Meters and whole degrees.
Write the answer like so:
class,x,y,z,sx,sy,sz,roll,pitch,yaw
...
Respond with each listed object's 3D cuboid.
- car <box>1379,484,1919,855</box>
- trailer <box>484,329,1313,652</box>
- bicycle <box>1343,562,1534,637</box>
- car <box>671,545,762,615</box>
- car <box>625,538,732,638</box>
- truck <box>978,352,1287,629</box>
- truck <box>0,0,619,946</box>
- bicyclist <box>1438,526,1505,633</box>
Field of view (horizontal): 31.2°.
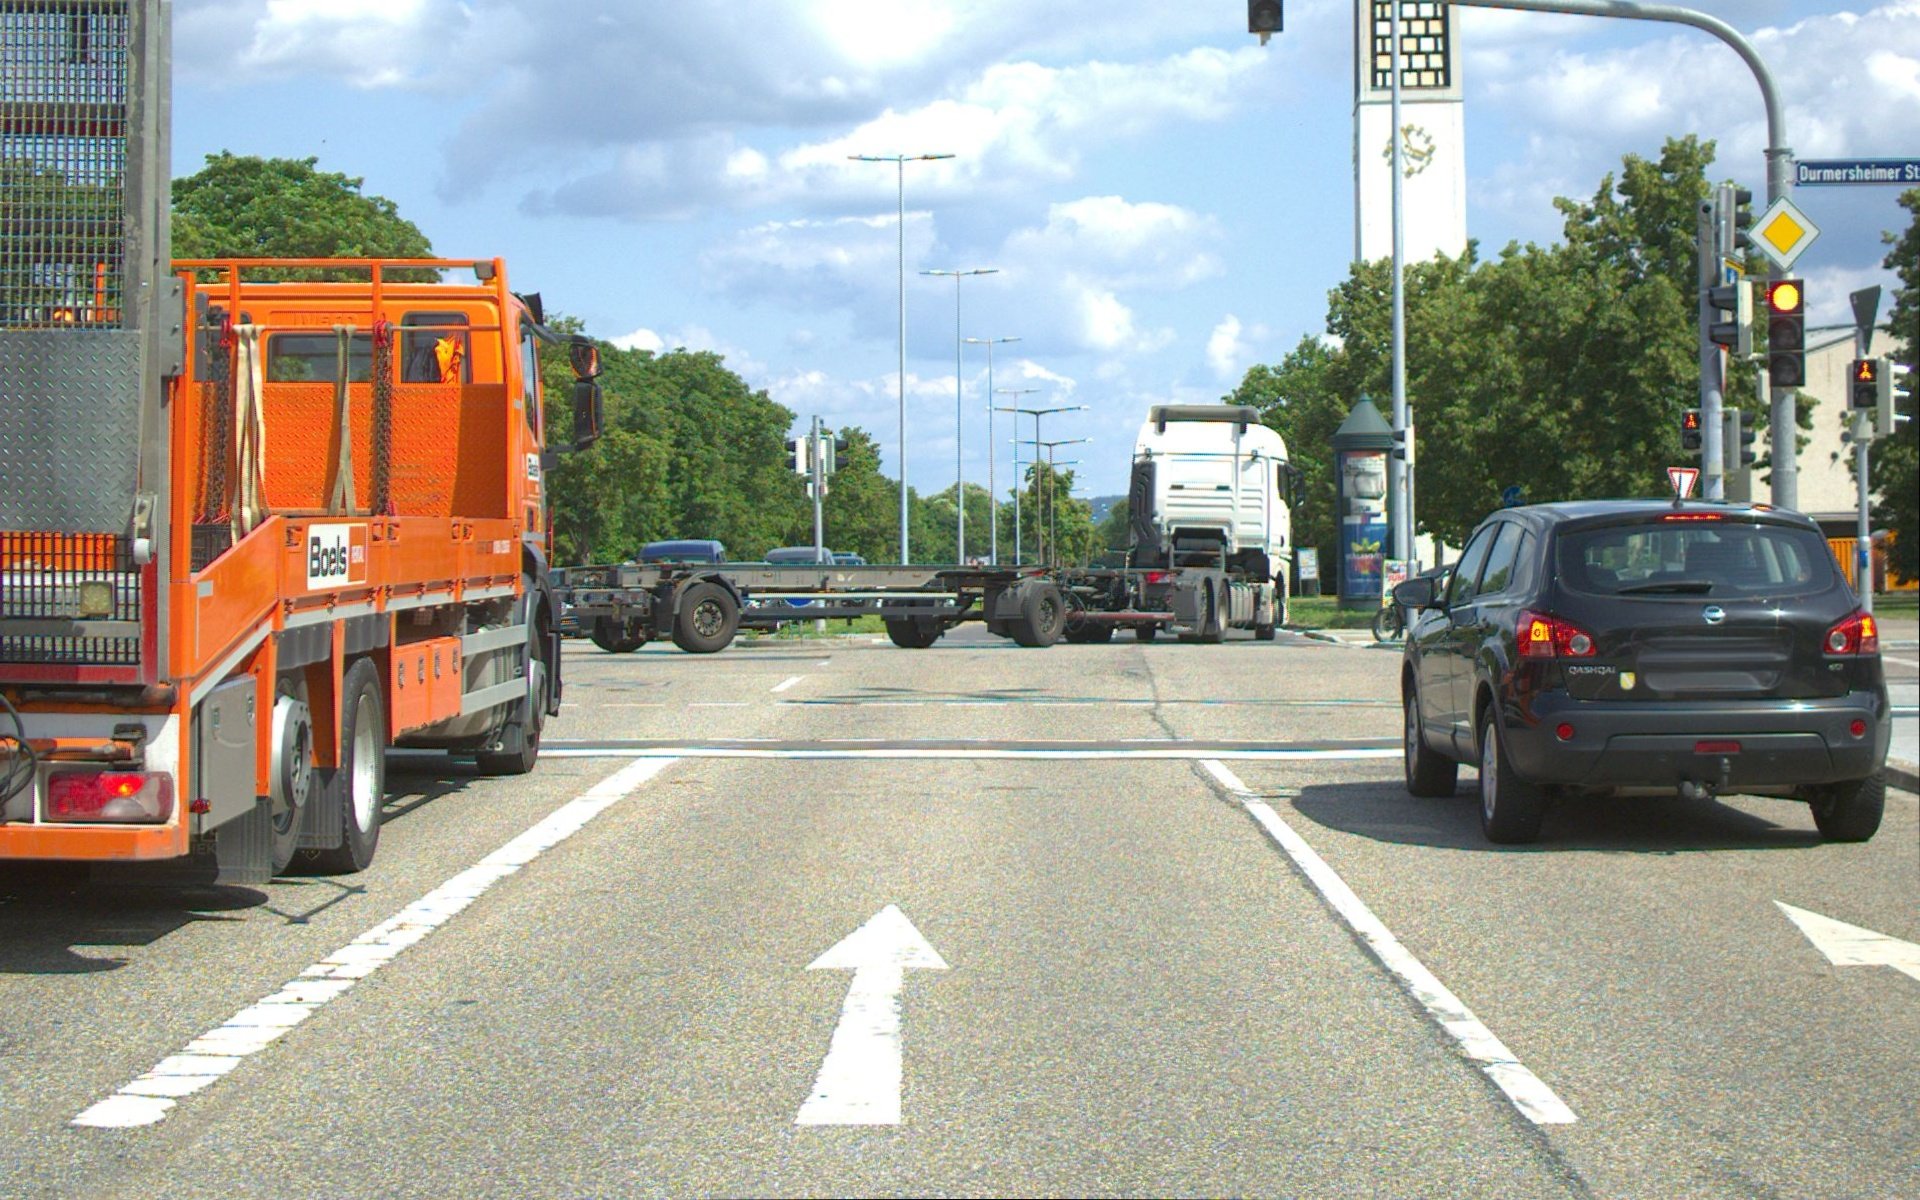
class,x,y,z,sx,sy,sz,roll,pitch,yaw
car,3.215,0.286,16.706,1.799,1.547,4.000,1,0,-1
trailer,-0.620,-1.503,47.339,11.284,3.998,3.632,-2,1,-36
bicycle,7.253,-0.017,52.069,2.832,1.108,0.797,-1,1,-22
car,-4.814,-0.399,68.255,1.568,1.311,3.432,1,0,-1
car,-4.902,-0.215,60.242,1.734,1.654,4.231,1,0,-3
truck,2.886,-1.657,54.102,2.961,3.957,8.632,-1,1,16
truck,-3.673,-0.696,16.148,3.070,3.402,11.069,1,0,-1
bicyclist,7.769,-0.312,52.267,0.698,1.610,0.797,-1,1,-22
